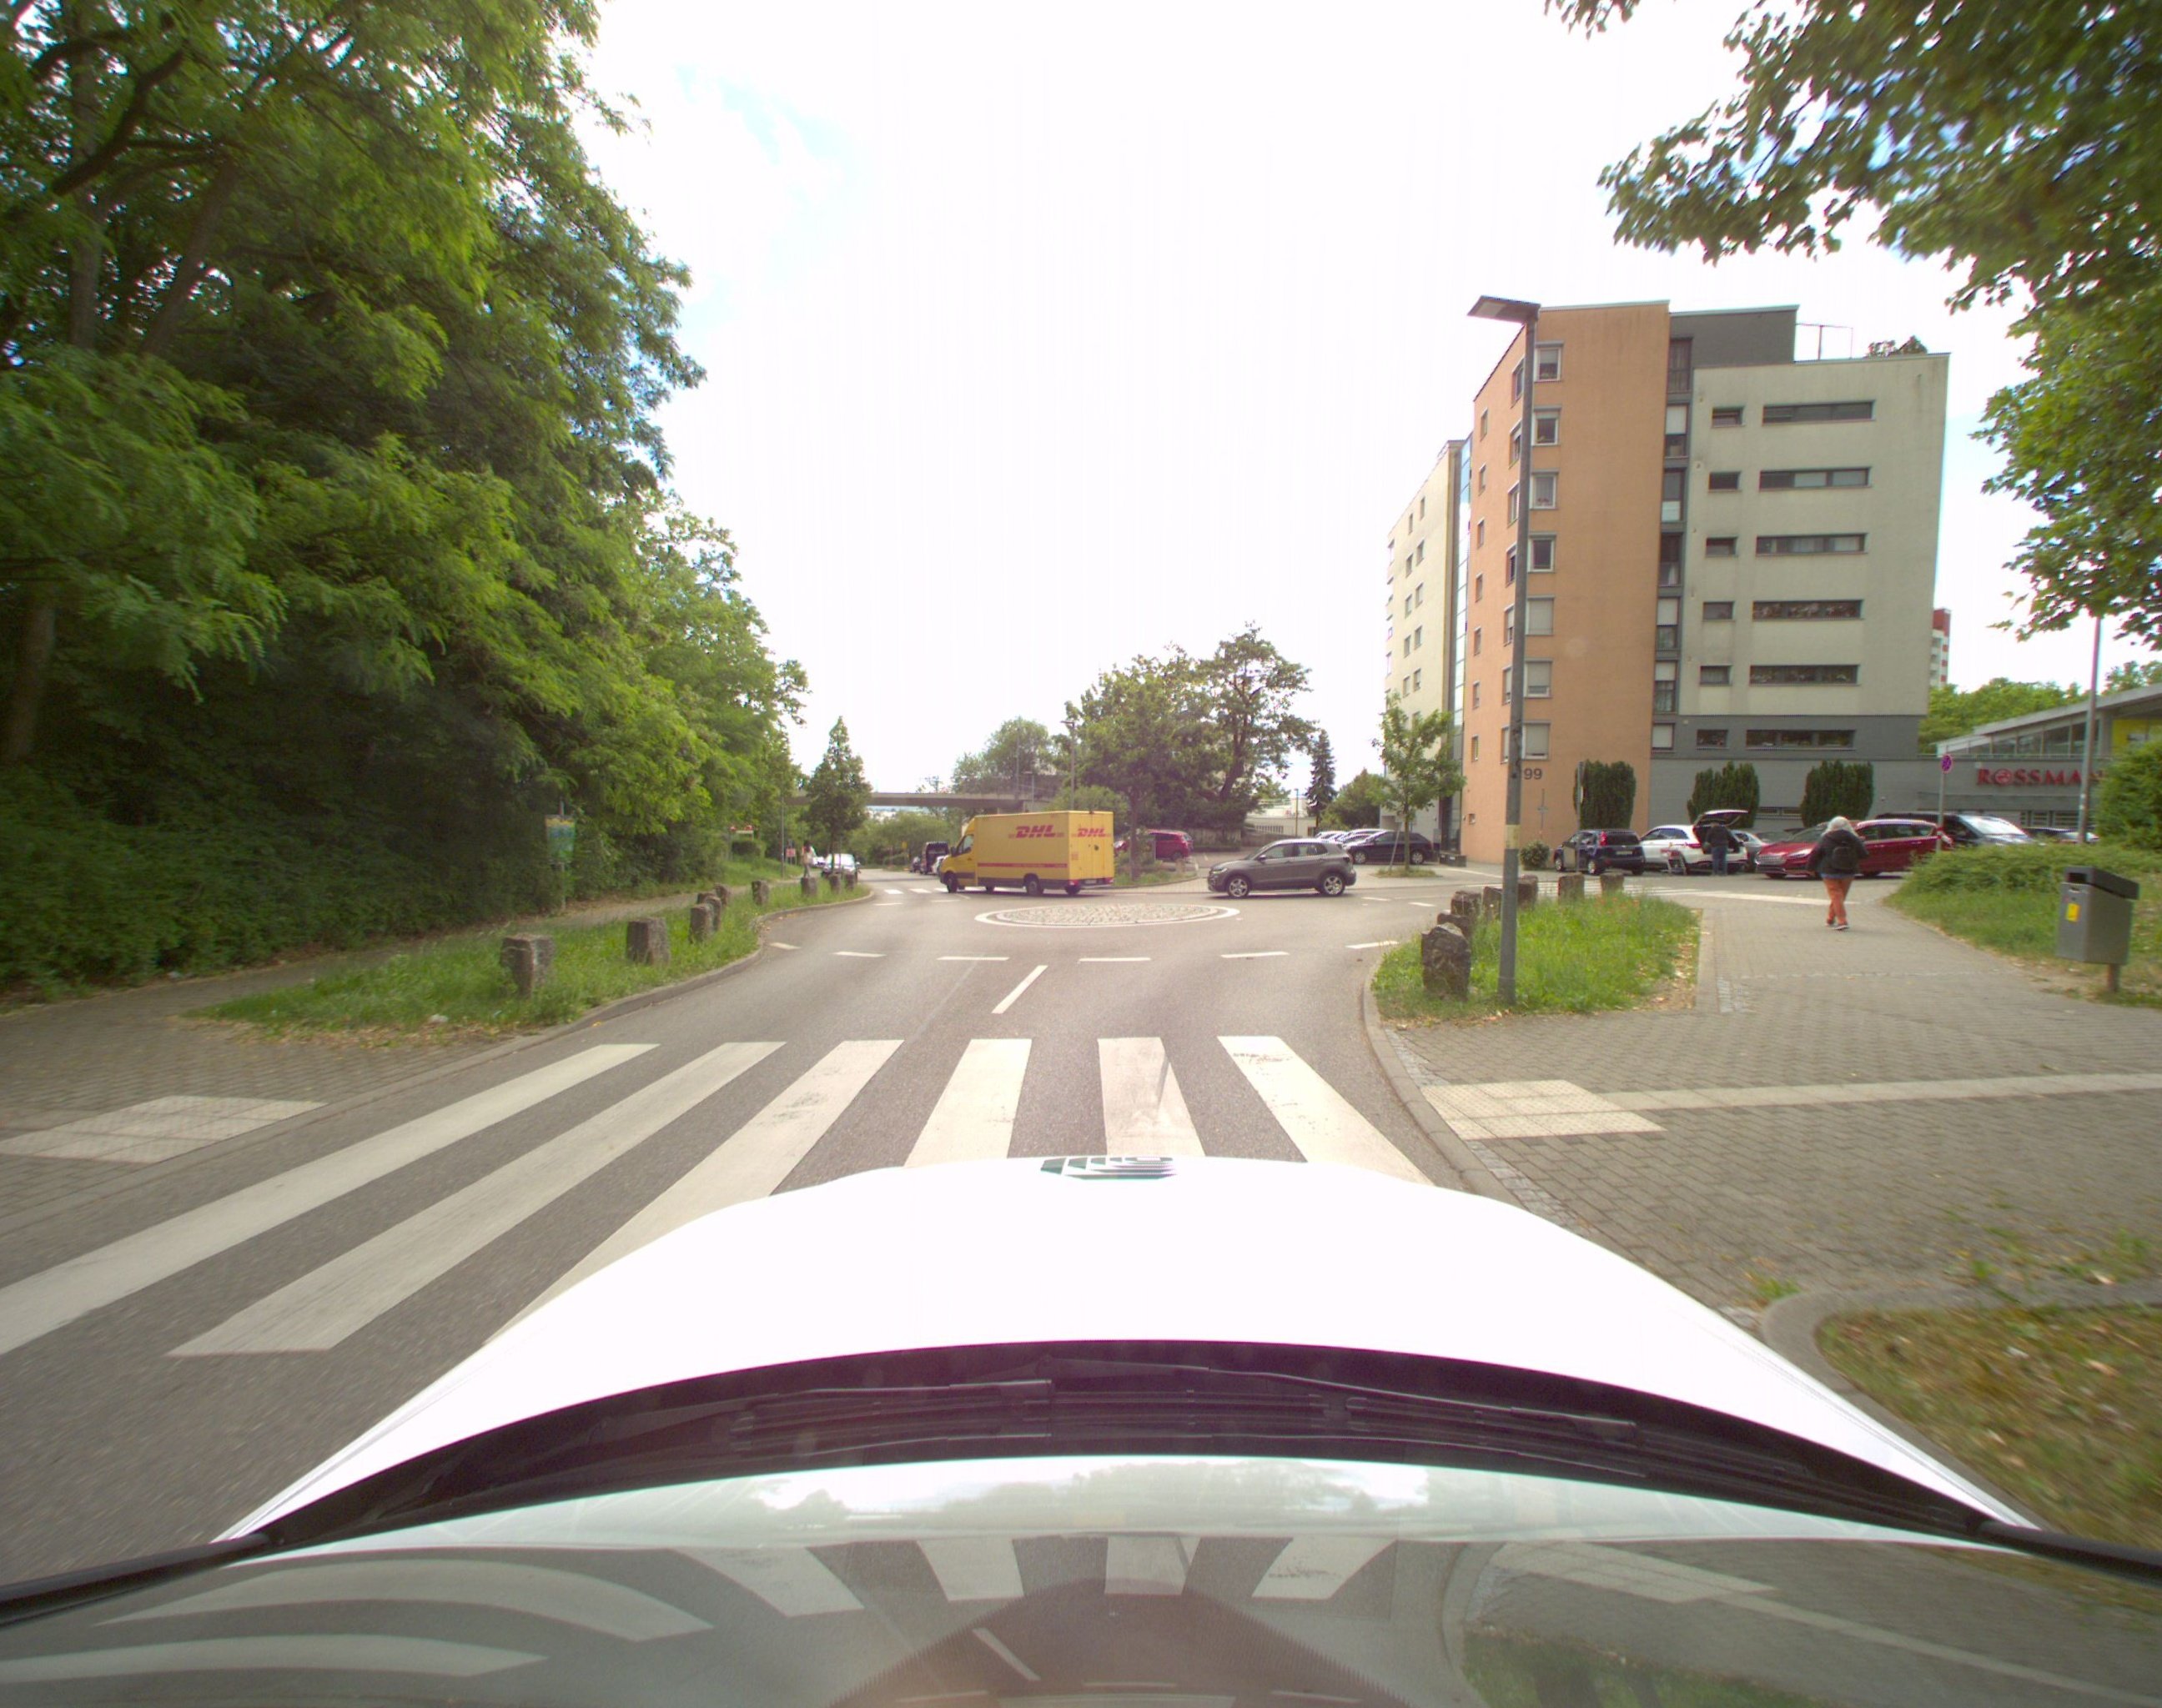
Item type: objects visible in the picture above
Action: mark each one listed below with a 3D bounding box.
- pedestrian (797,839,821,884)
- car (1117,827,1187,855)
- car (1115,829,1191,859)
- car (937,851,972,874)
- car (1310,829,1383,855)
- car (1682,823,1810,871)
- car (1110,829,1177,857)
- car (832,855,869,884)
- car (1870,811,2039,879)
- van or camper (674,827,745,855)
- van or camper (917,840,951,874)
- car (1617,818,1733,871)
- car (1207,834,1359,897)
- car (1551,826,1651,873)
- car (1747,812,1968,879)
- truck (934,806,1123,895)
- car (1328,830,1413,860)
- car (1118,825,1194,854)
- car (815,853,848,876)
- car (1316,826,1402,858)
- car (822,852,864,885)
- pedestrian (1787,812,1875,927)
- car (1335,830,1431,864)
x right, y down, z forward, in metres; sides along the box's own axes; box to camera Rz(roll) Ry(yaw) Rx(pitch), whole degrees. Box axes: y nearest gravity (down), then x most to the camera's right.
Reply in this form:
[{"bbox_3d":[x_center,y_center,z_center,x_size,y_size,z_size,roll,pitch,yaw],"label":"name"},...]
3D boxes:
[{"bbox_3d":[-10.502,0.295,31.466,0.736,1.721,0.659,0,0,-5],"label":"pedestrian"},{"bbox_3d":[4.113,-0.754,47.422,3.971,1.613,1.946,1,1,2],"label":"car"},{"bbox_3d":[3.544,-0.495,39.987,3.632,1.439,1.687,1,0,5],"label":"car"},{"bbox_3d":[-8.628,0.581,55.314,1.704,1.496,4.094,-1,0,-17],"label":"car"},{"bbox_3d":[15.645,-0.710,48.123,3.954,1.517,1.763,1,1,12],"label":"car"},{"bbox_3d":[22.838,-0.251,28.160,1.628,1.482,3.784,-2,0,7],"label":"car"},{"bbox_3d":[3.489,-0.598,45.156,3.632,1.498,1.687,1,1,5],"label":"car"},{"bbox_3d":[-12.613,0.836,44.630,1.888,1.460,3.527,0,1,-16],"label":"car"},{"bbox_3d":[29.911,-0.306,28.081,1.814,2.160,3.985,0,1,7],"label":"car"},{"bbox_3d":[-28.791,-0.965,63.262,4.873,2.086,1.985,0,1,-22],"label":"van or camper"},{"bbox_3d":[-11.939,0.261,66.092,1.998,2.523,5.439,-3,0,-17],"label":"van or camper"},{"bbox_3d":[20.554,-0.322,28.370,1.560,1.658,3.784,-2,0,7],"label":"car"},{"bbox_3d":[5.592,0.317,22.938,3.974,1.618,1.726,-1,0,8],"label":"car"},{"bbox_3d":[17.880,-0.156,28.168,1.492,1.476,3.533,-2,0,7],"label":"car"},{"bbox_3d":[21.969,-0.240,23.175,4.510,1.644,1.979,-2,1,-2],"label":"car"},{"bbox_3d":[-1.942,-0.086,27.793,6.738,2.702,2.489,0,-1,43],"label":"truck"},{"bbox_3d":[14.534,-0.457,41.088,3.803,1.458,1.697,1,1,10],"label":"car"},{"bbox_3d":[4.574,-0.879,50.123,4.525,1.668,1.946,1,1,2],"label":"car"},{"bbox_3d":[-16.958,0.719,55.299,1.891,1.509,4.421,0,-1,-20],"label":"car"},{"bbox_3d":[14.732,-0.639,43.350,4.096,1.593,1.696,1,1,8],"label":"car"},{"bbox_3d":[-11.704,0.678,39.929,1.792,1.468,3.974,0,1,-19],"label":"car"},{"bbox_3d":[11.286,0.220,12.282,0.609,1.665,0.843,1,0,10],"label":"pedestrian"},{"bbox_3d":[14.220,-0.348,38.563,4.016,1.517,1.761,1,1,10],"label":"car"}]
